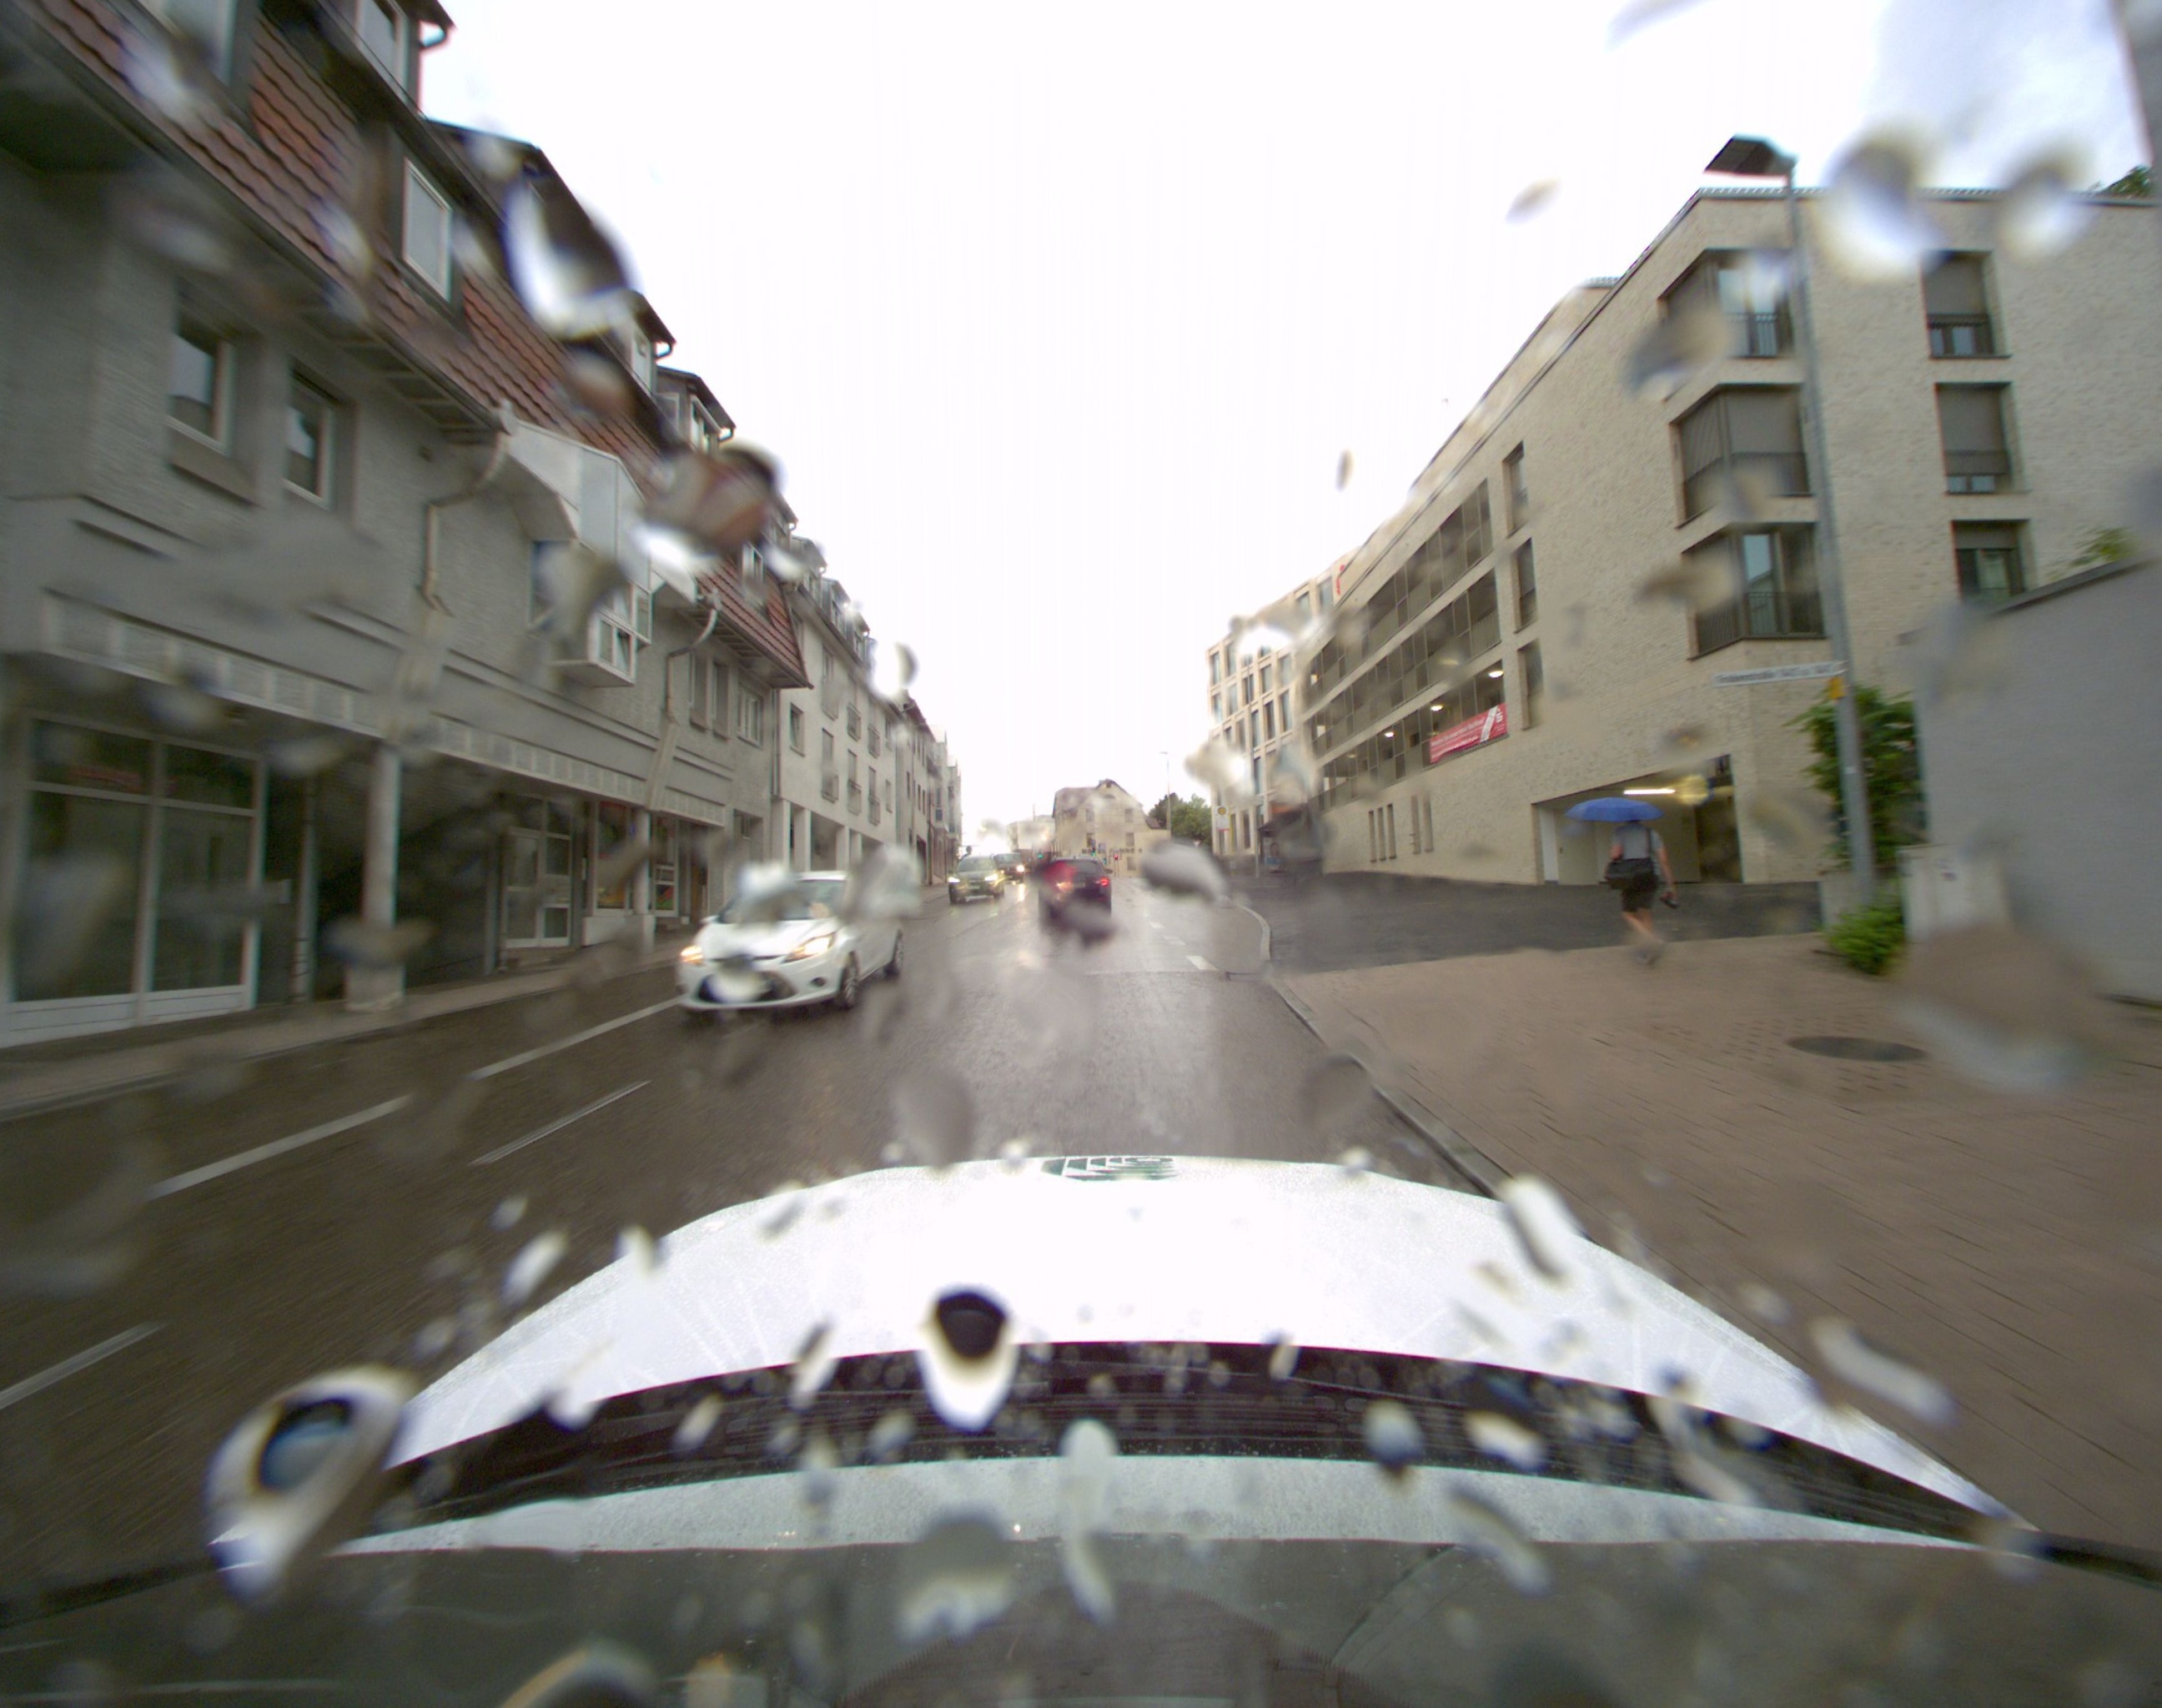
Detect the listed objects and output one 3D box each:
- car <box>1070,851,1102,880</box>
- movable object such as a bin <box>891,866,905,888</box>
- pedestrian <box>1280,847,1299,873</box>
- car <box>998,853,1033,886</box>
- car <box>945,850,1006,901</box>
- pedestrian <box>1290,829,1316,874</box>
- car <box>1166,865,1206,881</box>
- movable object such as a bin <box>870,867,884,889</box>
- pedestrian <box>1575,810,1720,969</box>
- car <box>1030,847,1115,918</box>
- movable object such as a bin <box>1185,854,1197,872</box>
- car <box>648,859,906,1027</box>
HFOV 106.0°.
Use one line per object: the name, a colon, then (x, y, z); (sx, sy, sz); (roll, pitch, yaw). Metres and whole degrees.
car: (0.241, 0.617, 46.110); (1.672, 1.510, 3.586); (-2, 0, -1)
movable object such as a bin: (-8.538, 1.089, 38.060); (0.507, 1.006, 0.584); (-2, 0, -3)
pedestrian: (9.737, 0.292, 38.070); (0.669, 1.162, 0.635); (-4, -1, 1)
car: (-4.191, 0.960, 52.552); (1.927, 1.907, 5.038); (-3, 0, -3)
car: (-3.819, 0.743, 30.056); (1.778, 1.694, 4.455); (-2, 0, -2)
pedestrian: (9.985, -0.116, 36.695); (0.779, 1.940, 1.021); (-4, -1, 1)
car: (12.427, 2.249, 96.462); (4.310, 1.505, 1.769); (-4, -6, -15)
movable object such as a bin: (-9.506, 1.101, 37.890); (0.507, 1.006, 0.584); (-2, 0, -3)
pedestrian: (6.017, 0.357, 8.713); (0.732, 1.542, 1.039); (-5, -1, 4)
car: (-0.249, 0.670, 21.109); (1.939, 1.567, 4.414); (-2, 0, -2)
movable object such as a bin: (6.638, 0.532, 49.139); (0.593, 1.062, 0.579); (-2, -1, 0)
car: (-3.244, 0.843, 9.473); (1.672, 1.510, 3.586); (-2, 0, -2)
